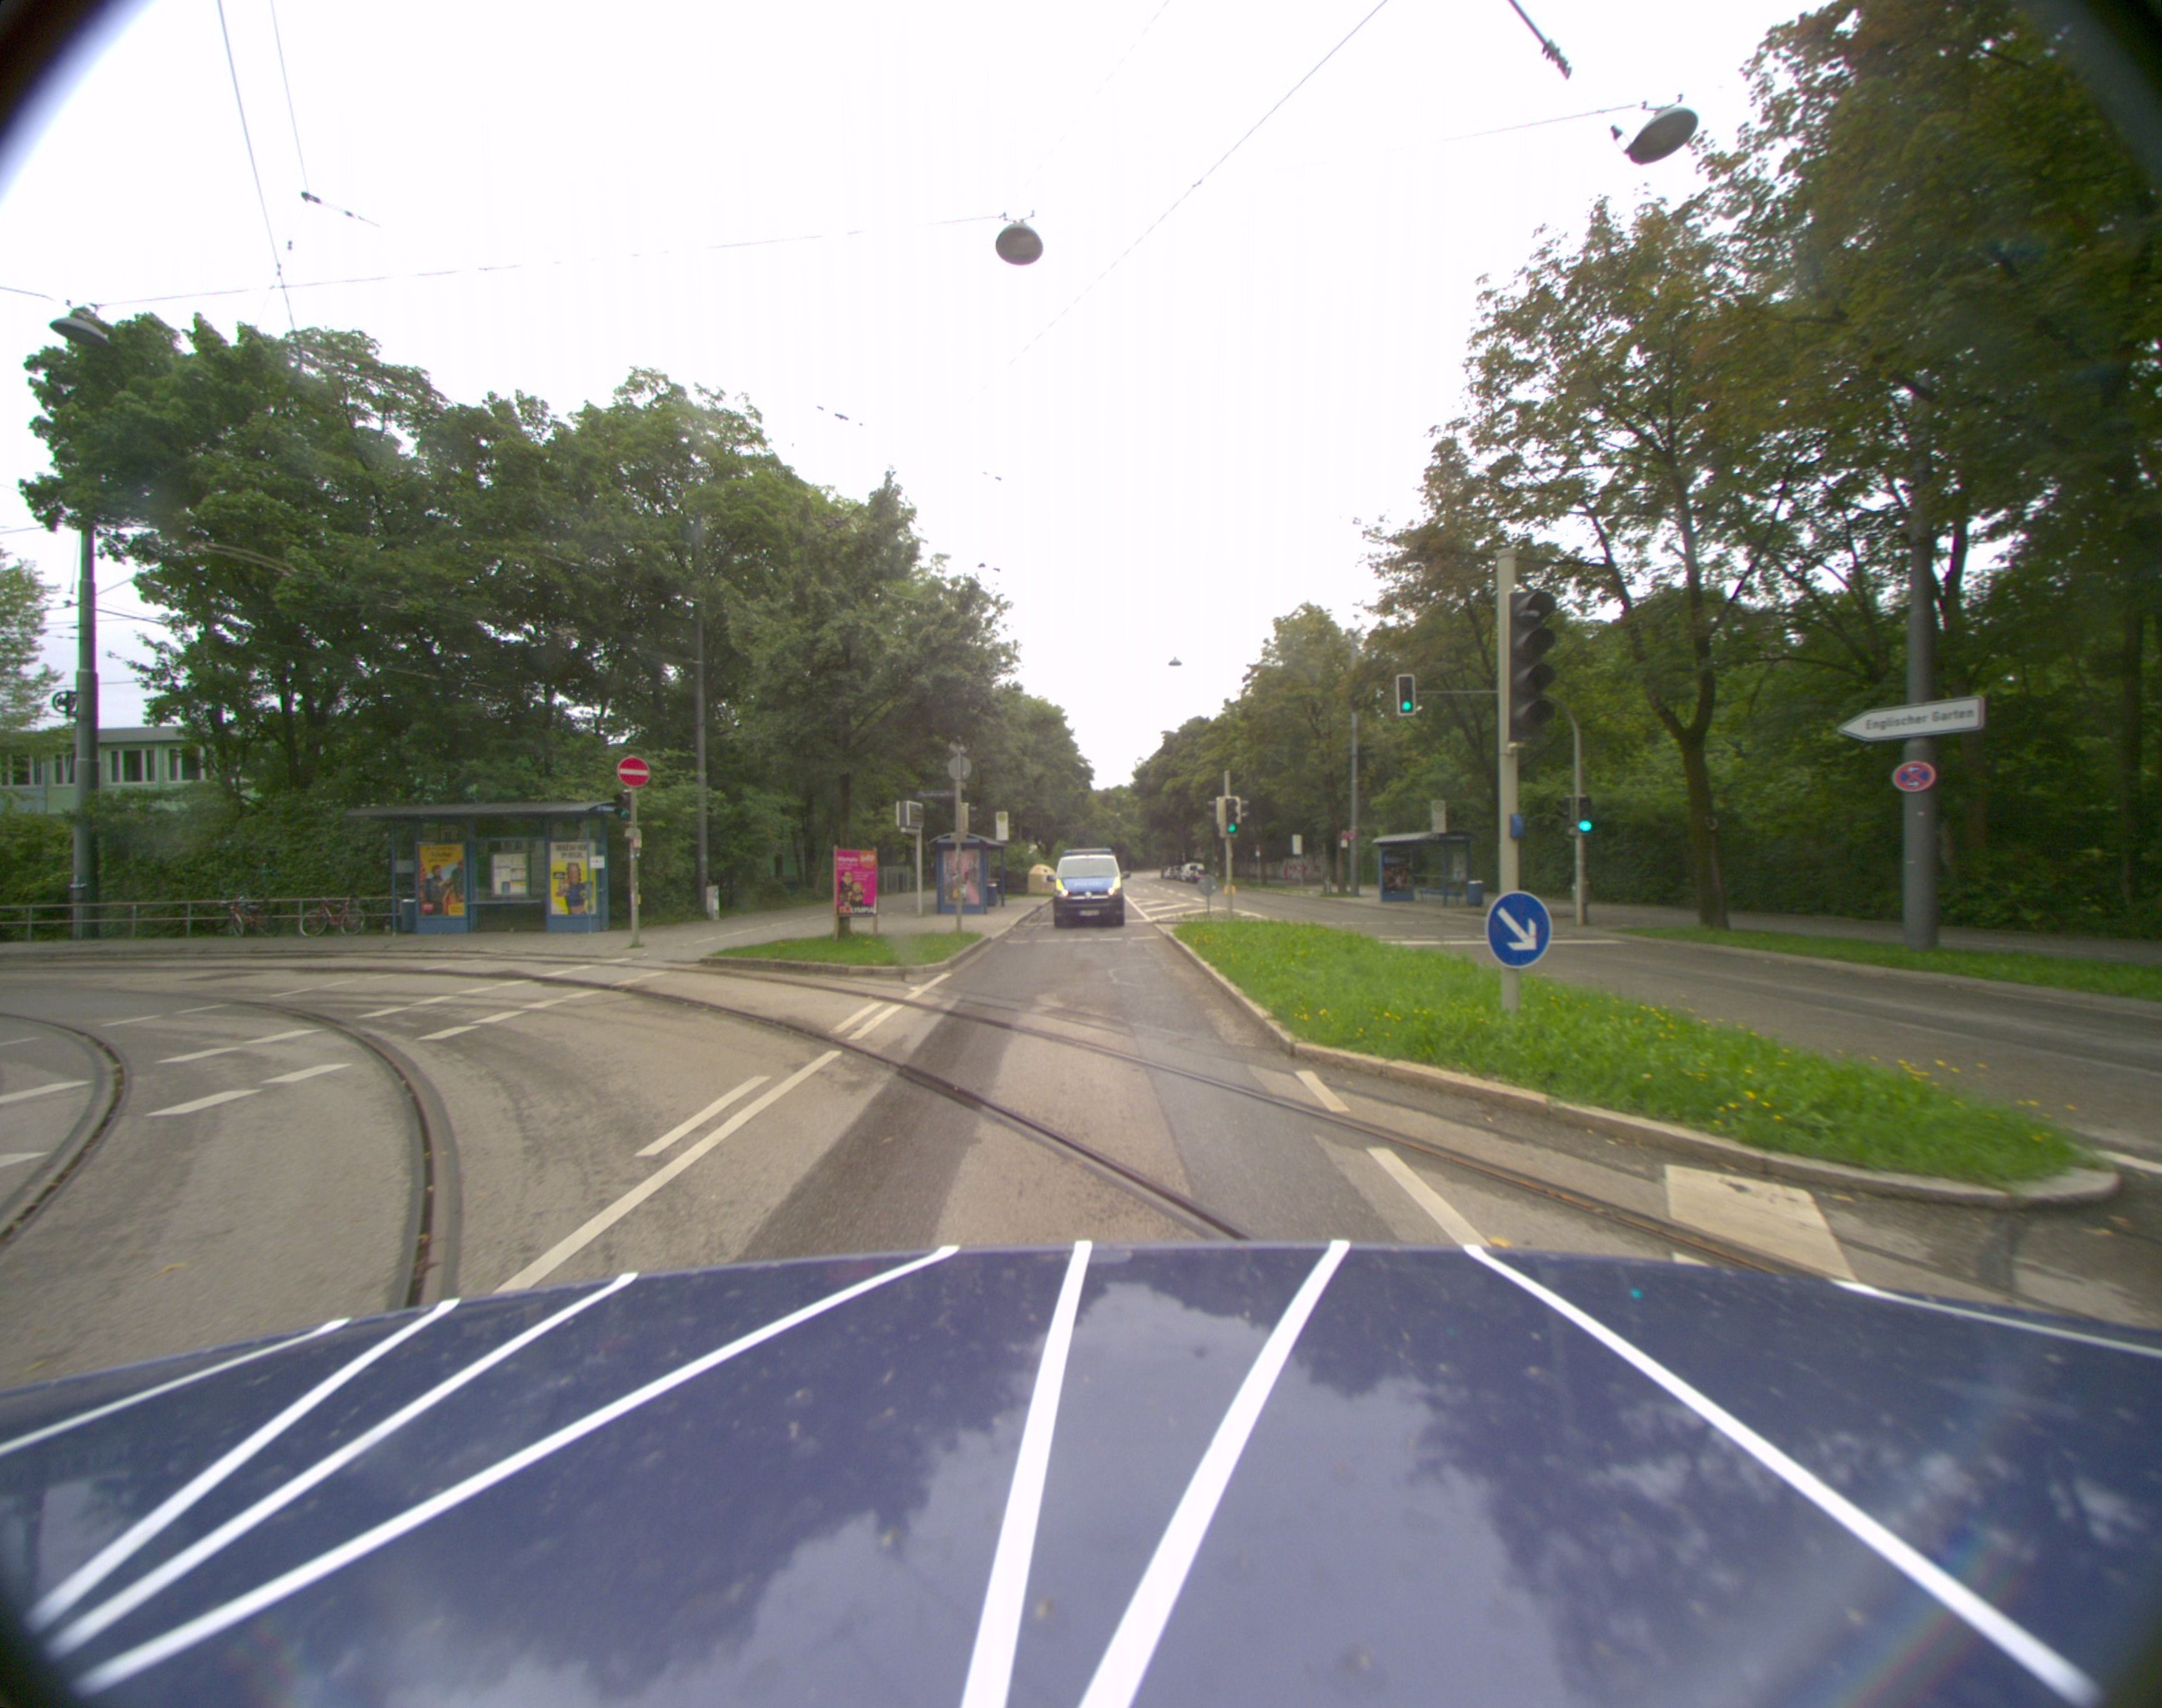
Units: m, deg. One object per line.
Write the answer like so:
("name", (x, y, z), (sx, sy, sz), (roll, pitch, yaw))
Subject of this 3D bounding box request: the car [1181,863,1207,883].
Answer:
("car", (10.907, 1.834, 73.476), (1.888, 1.716, 4.000), (-2, 0, 0))

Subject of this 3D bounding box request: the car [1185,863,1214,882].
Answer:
("car", (10.519, 1.619, 67.654), (1.888, 1.531, 4.000), (-2, 0, 0))

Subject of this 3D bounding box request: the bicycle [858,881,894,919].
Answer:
("bicycle", (-6.599, 1.465, 24.507), (0.580, 1.072, 1.912), (-2, 0, 0))

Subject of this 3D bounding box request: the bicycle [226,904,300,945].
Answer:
("bicycle", (-20.052, 1.730, 18.633), (1.483, 0.946, 0.373), (-1, 1, 4))

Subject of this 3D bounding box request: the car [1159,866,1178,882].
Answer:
("car", (10.752, 2.453, 93.303), (1.888, 1.716, 4.000), (-2, 0, 0))

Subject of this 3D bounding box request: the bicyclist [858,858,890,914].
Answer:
("bicyclist", (-6.635, 1.019, 24.380), (0.726, 1.719, 0.726), (-2, 1, 0))

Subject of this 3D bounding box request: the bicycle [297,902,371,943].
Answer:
("bicycle", (-18.172, 1.654, 18.495), (1.483, 0.946, 0.373), (-1, 1, 4))

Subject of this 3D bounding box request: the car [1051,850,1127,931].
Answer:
("car", (0.218, 0.926, 22.096), (1.903, 2.041, 5.708), (0, 0, 0))

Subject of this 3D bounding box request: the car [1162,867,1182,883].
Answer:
("car", (10.518, 2.437, 88.163), (1.888, 1.716, 4.000), (-2, 0, 0))
